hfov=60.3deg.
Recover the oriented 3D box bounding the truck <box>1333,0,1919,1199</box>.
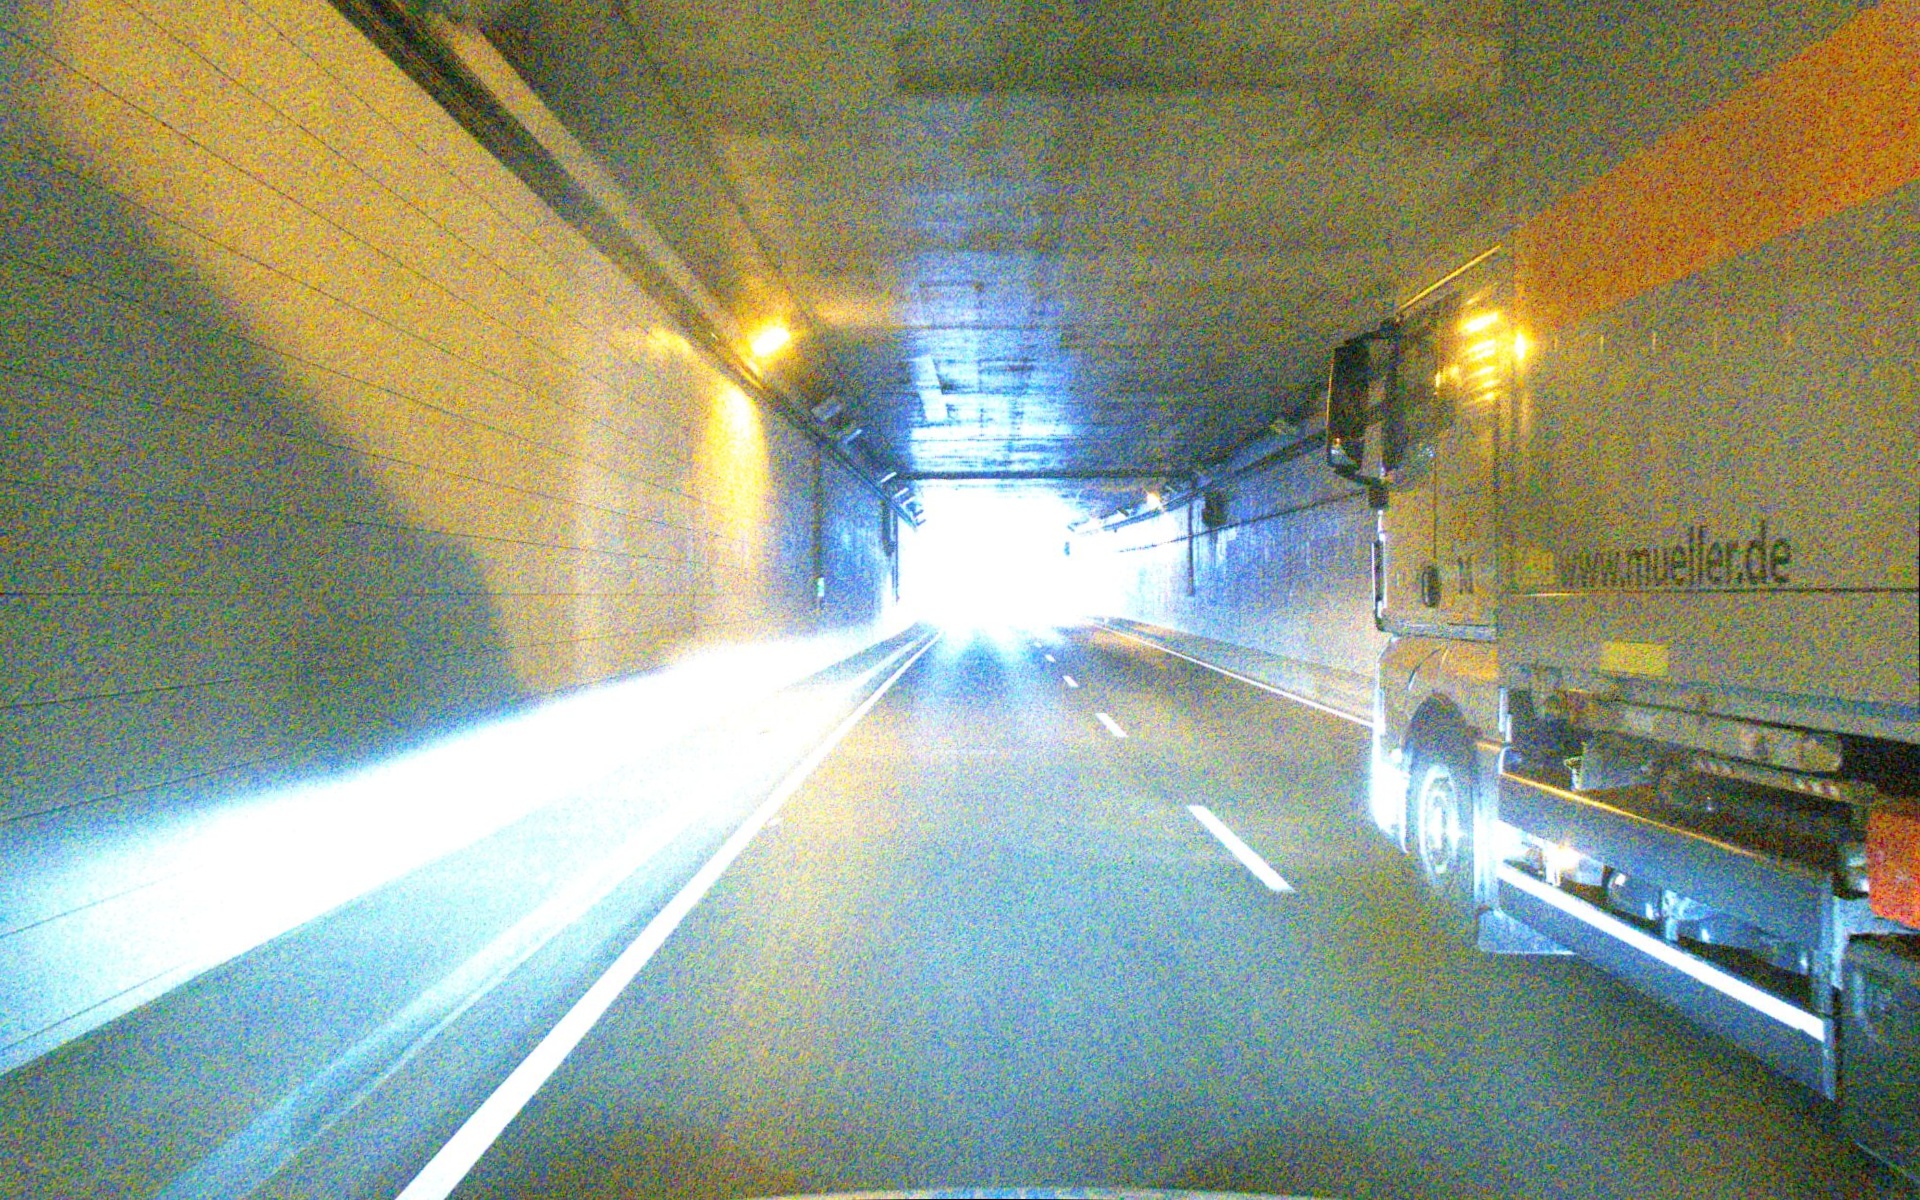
[{"bbox_3d":[3.488,-0.588,3.926,2.830,3.982,9.907,0,0,-1],"label":"truck"}]

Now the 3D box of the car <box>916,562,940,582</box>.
[{"bbox_3d":[-3.008,-2.636,155.712,1.834,1.763,3.993,0,0,-8],"label":"car"}]

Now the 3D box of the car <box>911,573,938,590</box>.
[{"bbox_3d":[-3.065,-1.590,141.943,1.807,1.413,3.991,0,0,-9],"label":"car"}]
